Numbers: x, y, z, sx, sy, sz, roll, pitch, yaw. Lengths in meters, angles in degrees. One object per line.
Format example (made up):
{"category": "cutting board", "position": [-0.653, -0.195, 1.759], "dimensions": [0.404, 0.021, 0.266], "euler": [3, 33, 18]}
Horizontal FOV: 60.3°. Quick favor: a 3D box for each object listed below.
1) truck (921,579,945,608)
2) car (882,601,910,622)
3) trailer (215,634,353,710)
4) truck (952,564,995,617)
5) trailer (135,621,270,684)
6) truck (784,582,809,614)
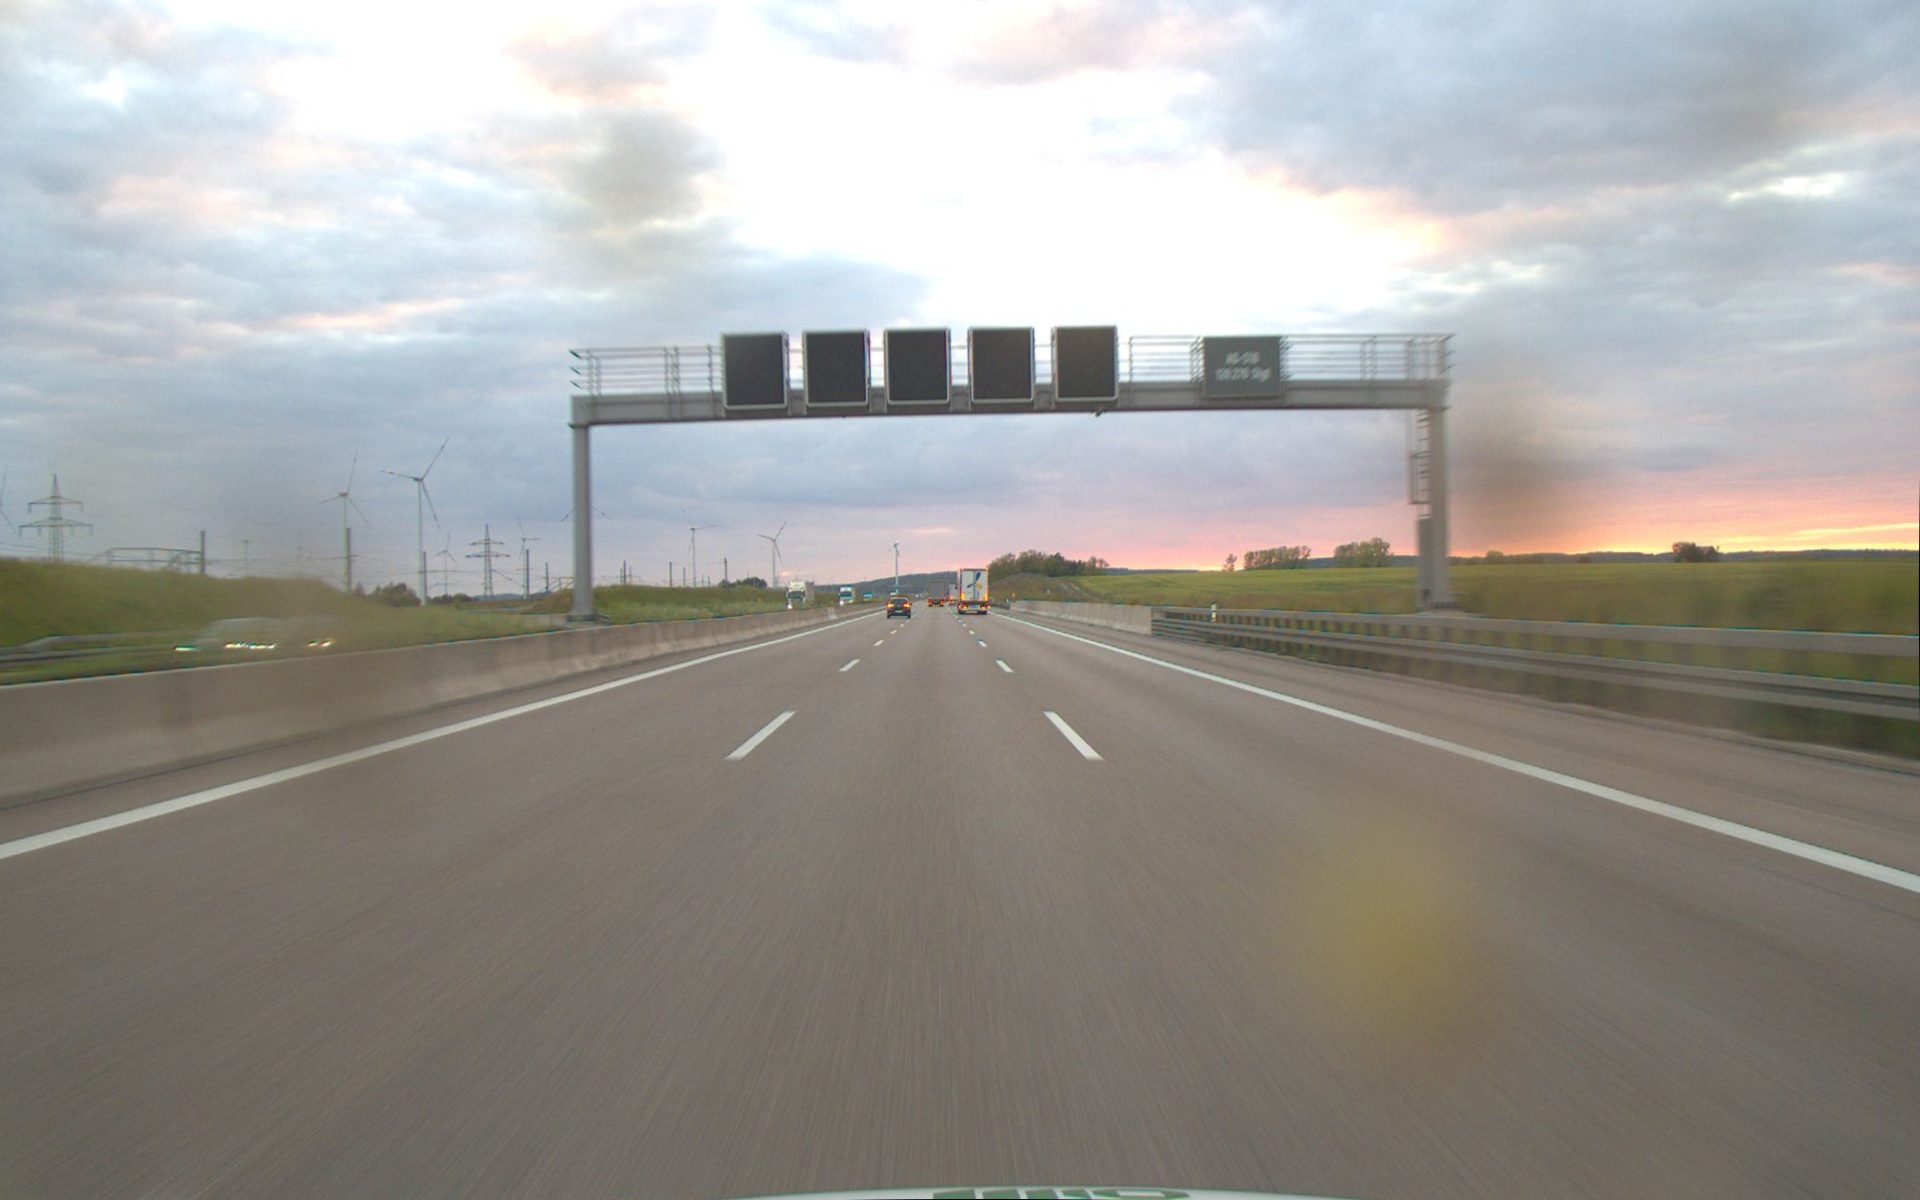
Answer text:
{"category": "truck", "position": [-4.305, -0.958, 263.065], "dimensions": [3.573, 4.491, 8.633], "euler": [-1, 0, -1]}
{"category": "car", "position": [-4.614, 0.812, 119.793], "dimensions": [1.948, 1.454, 3.999], "euler": [-2, 0, -2]}
{"category": "trailer", "position": [-15.895, 1.653, 39.097], "dimensions": [1.651, 1.579, 3.928], "euler": [-1, 0, -1]}
{"category": "truck", "position": [1.142, -0.854, 151.742], "dimensions": [3.601, 4.645, 10.977], "euler": [0, 0, -1]}
{"category": "trailer", "position": [-19.772, 1.325, 43.339], "dimensions": [1.682, 1.489, 4.000], "euler": [-1, 0, 0]}
{"category": "truck", "position": [-22.842, -0.252, 231.271], "dimensions": [2.760, 4.428, 6.737], "euler": [0, 0, -1]}
